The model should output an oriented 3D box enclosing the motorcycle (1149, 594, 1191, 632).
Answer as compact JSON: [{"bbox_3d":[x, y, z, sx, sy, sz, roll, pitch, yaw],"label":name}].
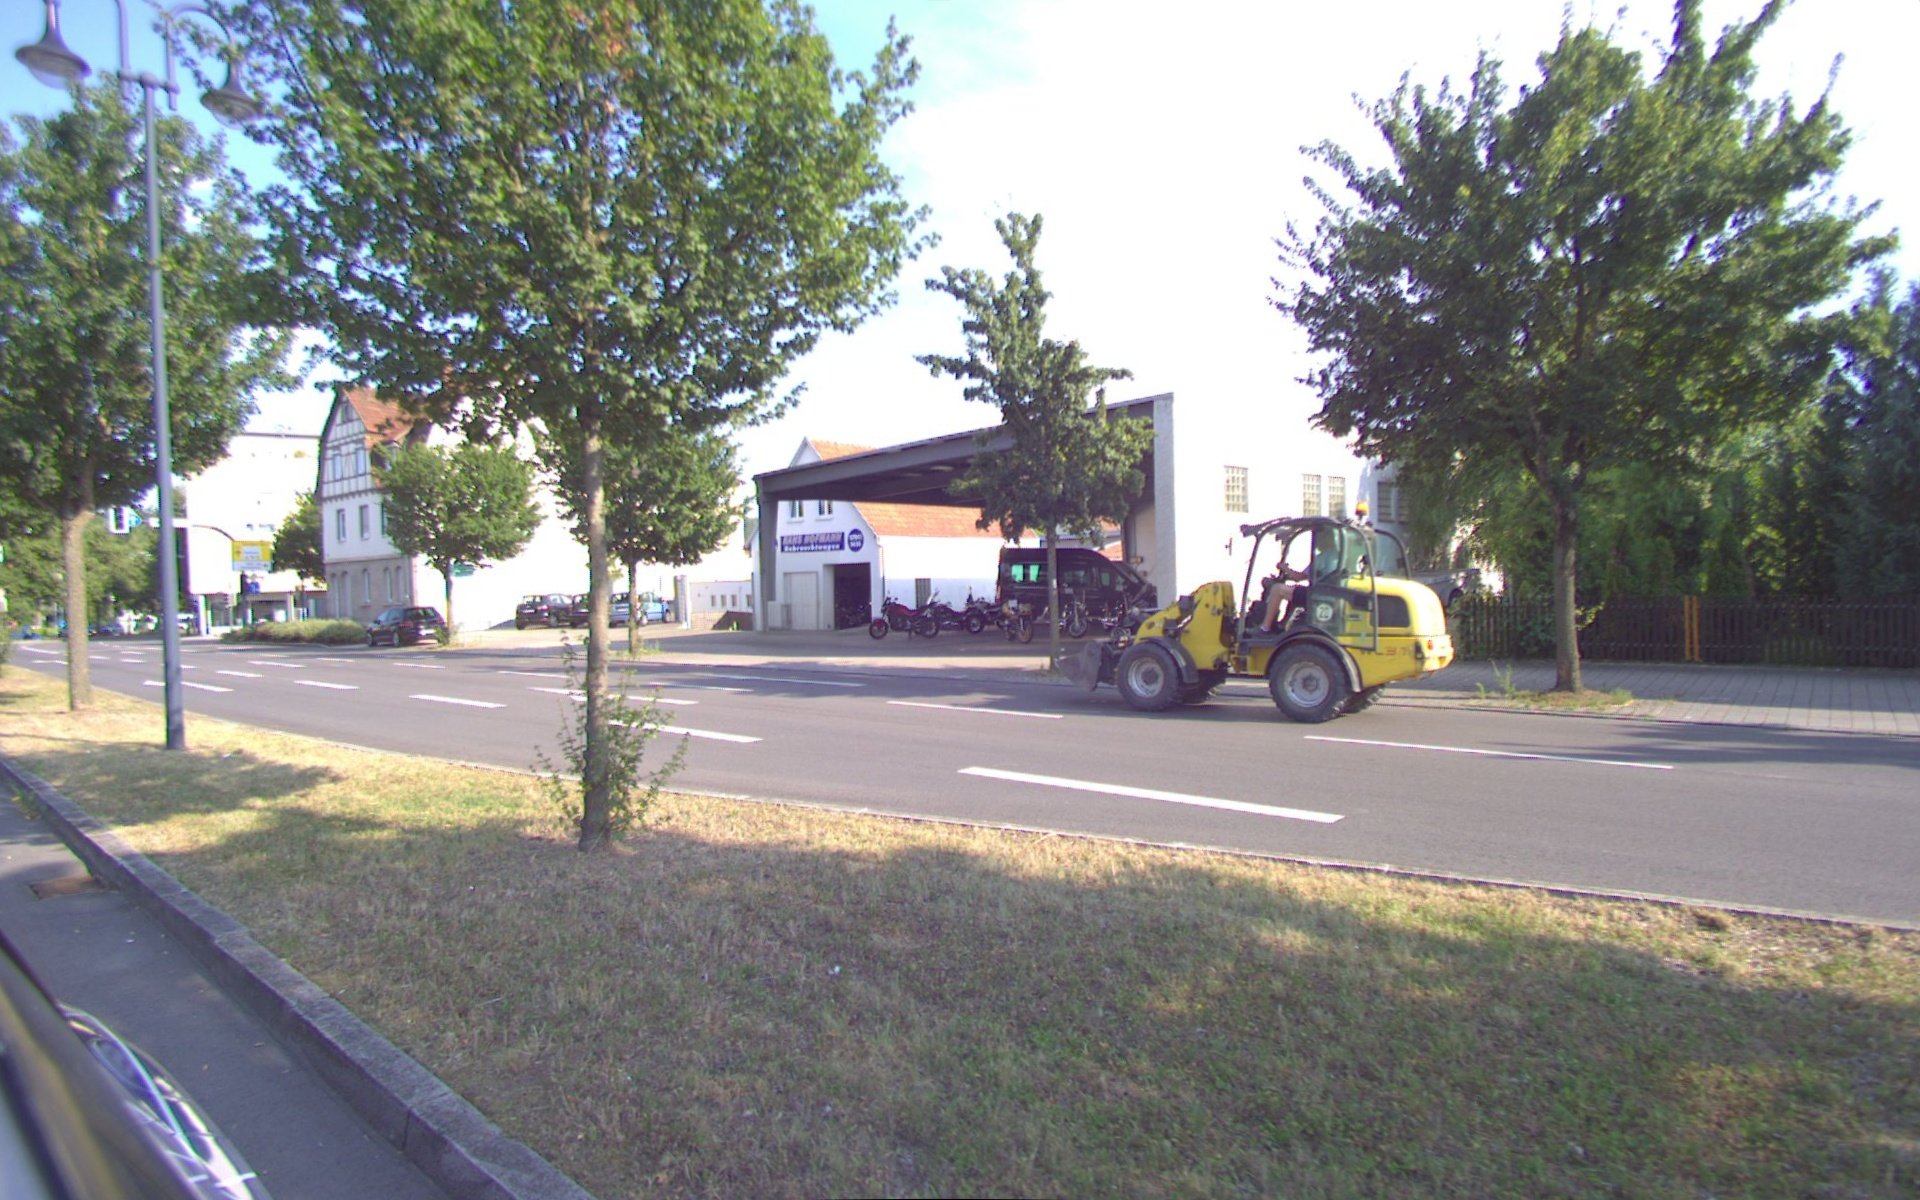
[{"bbox_3d":[6.441,0.387,31.127,0.542,1.107,2.052,-2,0,-10],"label":"motorcycle"}]

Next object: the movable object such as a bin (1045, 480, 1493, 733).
[{"bbox_3d":[3.471,0.087,12.190,4.978,2.480,1.536,-1,0,43],"label":"movable object such as a bin"}]

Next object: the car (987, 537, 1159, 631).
[{"bbox_3d":[3.946,-0.537,35.813,5.731,2.982,2.672,-2,0,7],"label":"car"}]

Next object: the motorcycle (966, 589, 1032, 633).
[{"bbox_3d":[1.246,0.342,32.592,2.090,1.332,0.488,-2,0,1],"label":"motorcycle"}]

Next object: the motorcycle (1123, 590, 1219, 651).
[{"bbox_3d":[4.802,0.470,23.054,2.074,1.310,0.523,-2,0,15],"label":"motorcycle"}]

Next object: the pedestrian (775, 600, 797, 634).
[{"bbox_3d":[-7.004,0.681,40.748,0.583,1.350,0.589,-1,0,34],"label":"pedestrian"}]

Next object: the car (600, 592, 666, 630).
[{"bbox_3d":[-13.954,0.467,43.394,1.599,1.555,3.429,-1,0,2],"label":"car"}]

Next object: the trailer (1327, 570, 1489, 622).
[{"bbox_3d":[10.980,-0.119,24.829,3.312,1.121,2.174,-3,1,-33],"label":"trailer"}]

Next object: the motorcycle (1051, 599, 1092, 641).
[{"bbox_3d":[3.036,0.530,27.667,0.542,1.107,2.052,-2,0,-10],"label":"motorcycle"}]

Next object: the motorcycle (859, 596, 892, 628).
[{"bbox_3d":[-3.749,0.521,44.998,0.485,1.332,2.102,-2,0,23],"label":"motorcycle"}]

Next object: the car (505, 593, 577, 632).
[{"bbox_3d":[-18.716,0.529,45.332,1.836,1.638,3.410,-1,0,-1],"label":"car"}]

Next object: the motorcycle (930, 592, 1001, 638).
[{"bbox_3d":[0.171,0.459,30.787,2.095,1.332,0.487,-2,0,9],"label":"motorcycle"}]

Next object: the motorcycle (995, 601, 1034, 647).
[{"bbox_3d":[1.387,0.594,26.062,0.542,1.107,2.052,-2,0,-10],"label":"motorcycle"}]

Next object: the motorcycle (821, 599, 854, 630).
[{"bbox_3d":[-5.452,0.637,45.080,0.485,1.332,2.104,-2,0,21],"label":"motorcycle"}]

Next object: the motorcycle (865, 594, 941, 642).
[{"bbox_3d":[-1.632,0.517,29.140,2.096,1.332,0.487,-2,0,11],"label":"motorcycle"}]

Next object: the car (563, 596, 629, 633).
[{"bbox_3d":[-16.160,0.617,45.075,1.566,1.576,3.429,-1,0,2],"label":"car"}]

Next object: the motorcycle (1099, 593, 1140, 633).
[{"bbox_3d":[4.629,0.361,29.506,0.542,1.107,2.052,-2,0,-10],"label":"motorcycle"}]

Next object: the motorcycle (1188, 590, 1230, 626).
[{"bbox_3d":[8.059,0.246,32.842,0.542,1.107,2.052,-2,0,-10],"label":"motorcycle"}]

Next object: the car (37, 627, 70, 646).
[{"bbox_3d":[-105.041,4.229,117.283,1.966,2.029,4.013,-1,0,-29],"label":"car"}]

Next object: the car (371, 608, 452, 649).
[{"bbox_3d":[-20.453,1.037,37.708,3.433,1.327,1.650,-1,3,44],"label":"car"}]

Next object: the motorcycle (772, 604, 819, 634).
[{"bbox_3d":[-6.677,0.765,41.125,2.114,1.155,0.483,-2,0,35],"label":"motorcycle"}]

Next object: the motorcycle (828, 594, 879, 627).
[{"bbox_3d":[-4.506,0.432,42.847,2.082,1.332,0.490,-2,0,-28],"label":"motorcycle"}]
